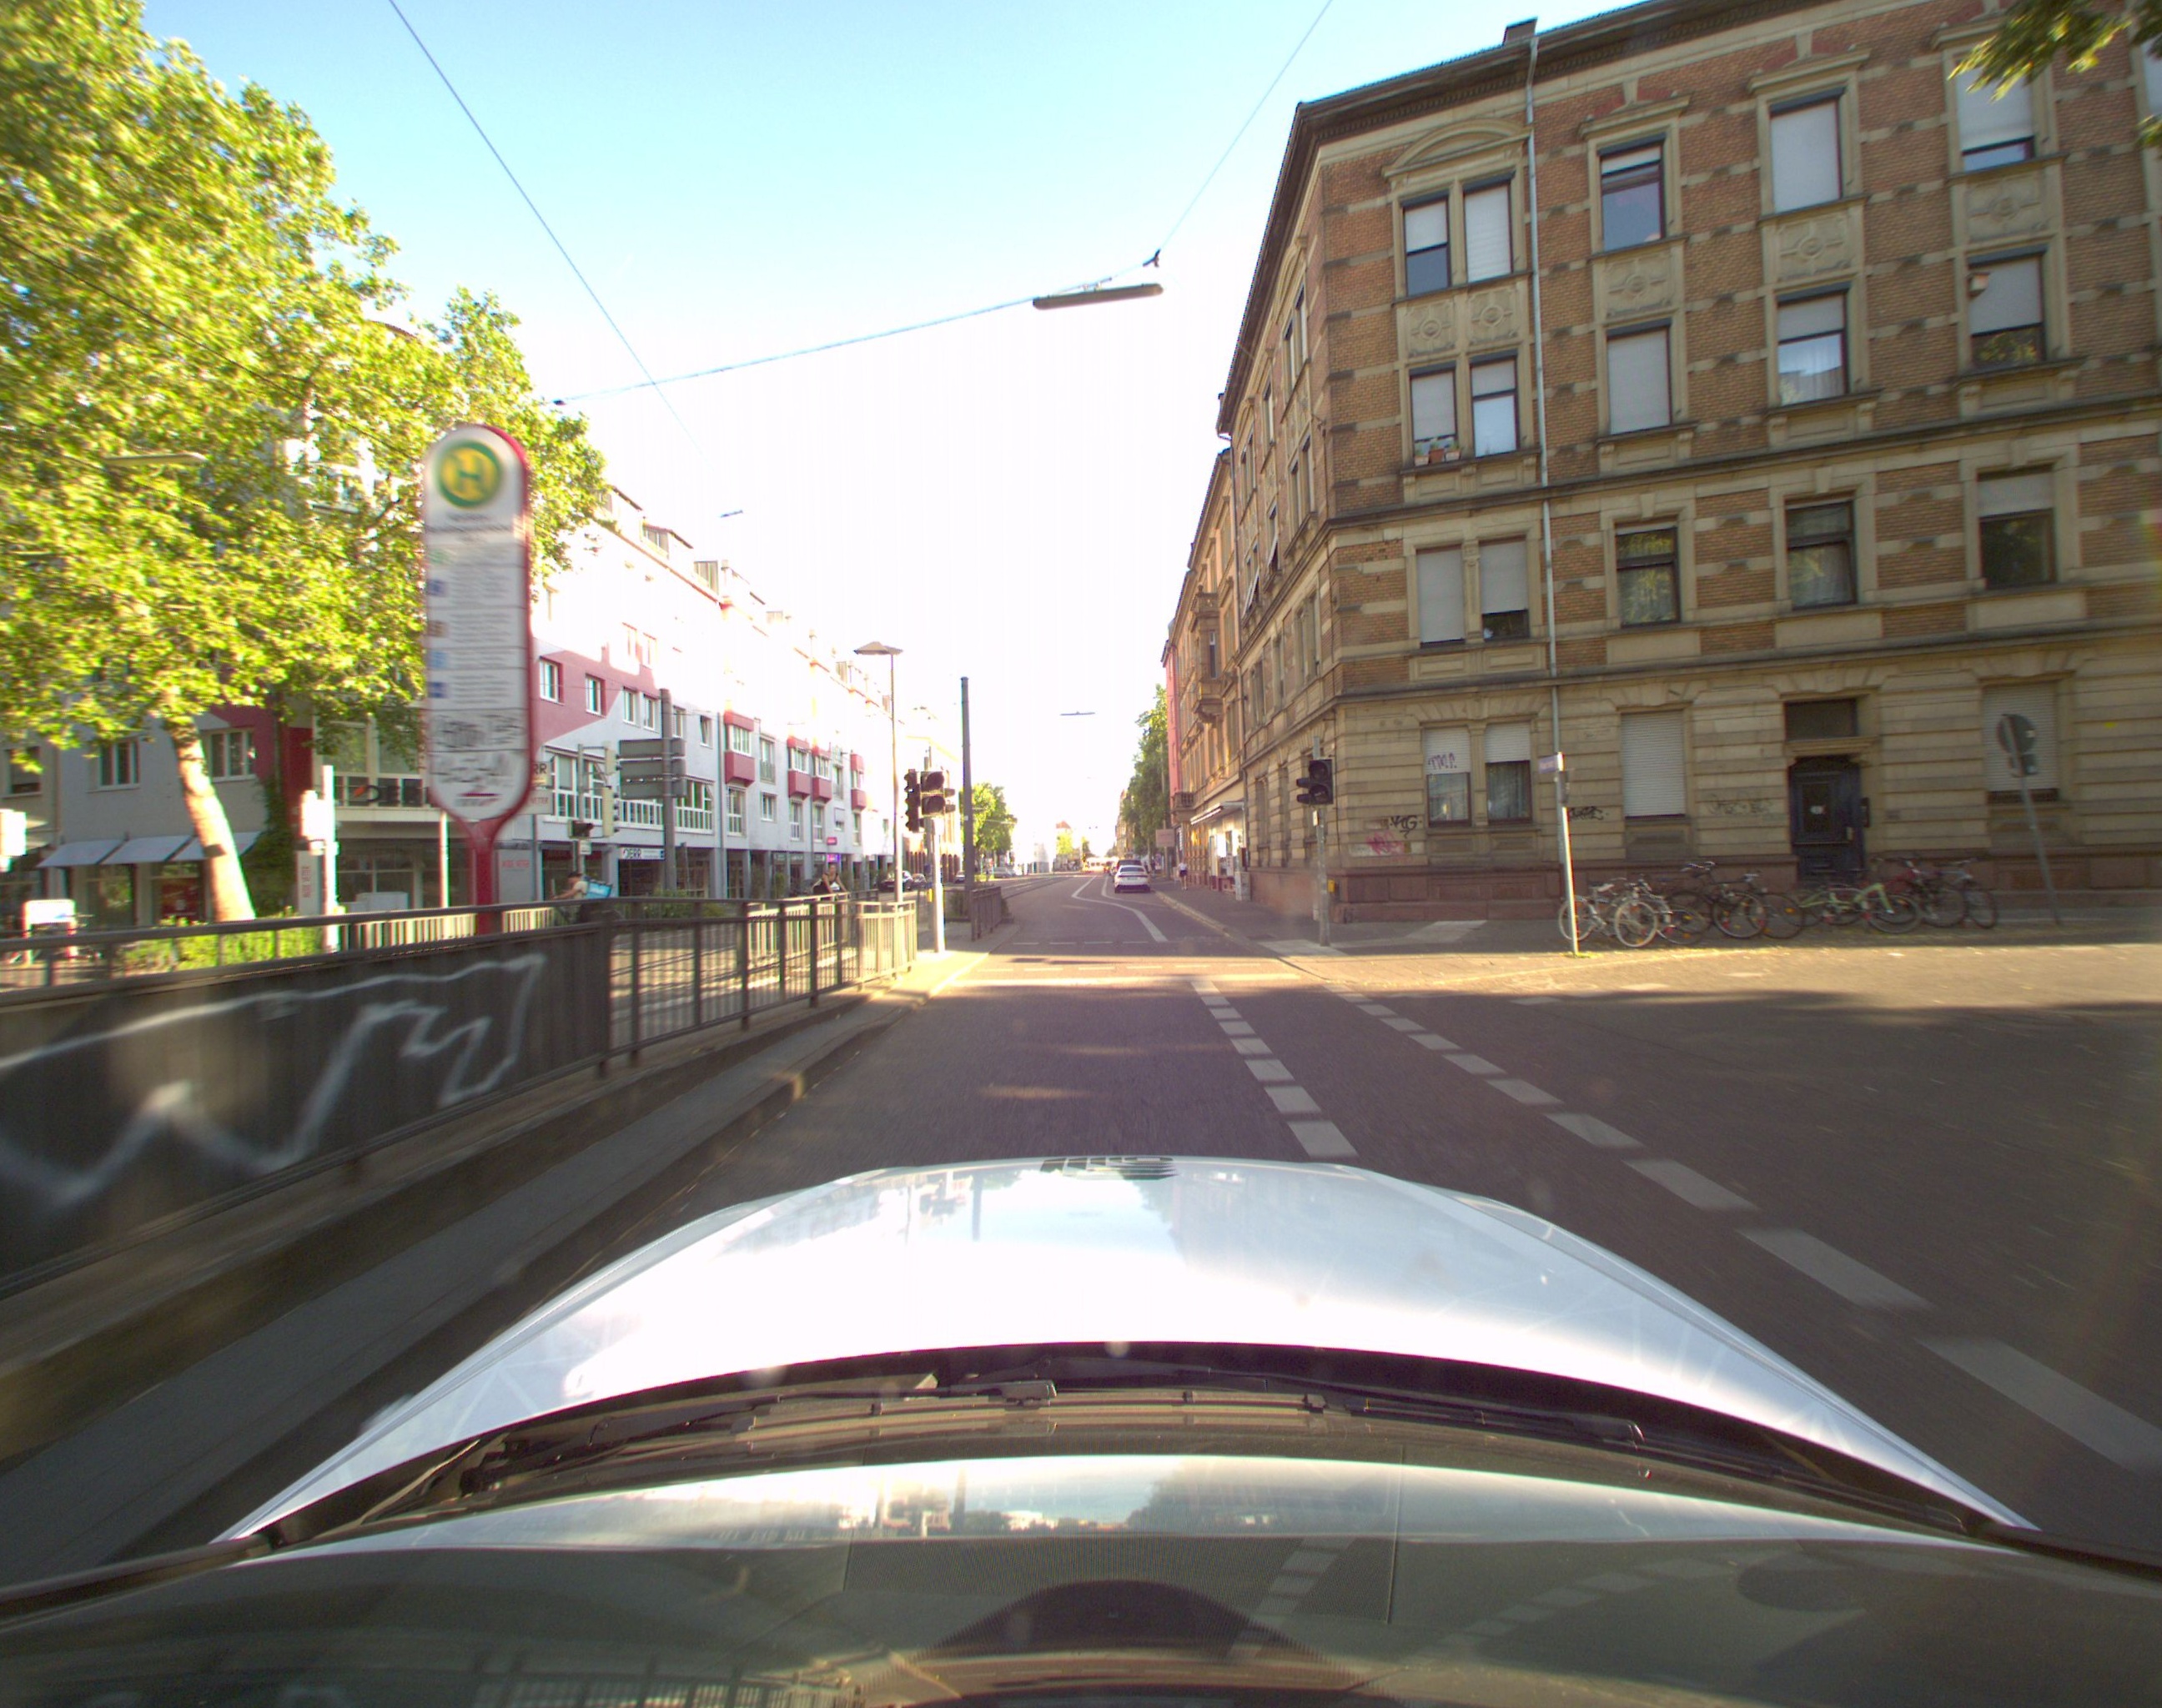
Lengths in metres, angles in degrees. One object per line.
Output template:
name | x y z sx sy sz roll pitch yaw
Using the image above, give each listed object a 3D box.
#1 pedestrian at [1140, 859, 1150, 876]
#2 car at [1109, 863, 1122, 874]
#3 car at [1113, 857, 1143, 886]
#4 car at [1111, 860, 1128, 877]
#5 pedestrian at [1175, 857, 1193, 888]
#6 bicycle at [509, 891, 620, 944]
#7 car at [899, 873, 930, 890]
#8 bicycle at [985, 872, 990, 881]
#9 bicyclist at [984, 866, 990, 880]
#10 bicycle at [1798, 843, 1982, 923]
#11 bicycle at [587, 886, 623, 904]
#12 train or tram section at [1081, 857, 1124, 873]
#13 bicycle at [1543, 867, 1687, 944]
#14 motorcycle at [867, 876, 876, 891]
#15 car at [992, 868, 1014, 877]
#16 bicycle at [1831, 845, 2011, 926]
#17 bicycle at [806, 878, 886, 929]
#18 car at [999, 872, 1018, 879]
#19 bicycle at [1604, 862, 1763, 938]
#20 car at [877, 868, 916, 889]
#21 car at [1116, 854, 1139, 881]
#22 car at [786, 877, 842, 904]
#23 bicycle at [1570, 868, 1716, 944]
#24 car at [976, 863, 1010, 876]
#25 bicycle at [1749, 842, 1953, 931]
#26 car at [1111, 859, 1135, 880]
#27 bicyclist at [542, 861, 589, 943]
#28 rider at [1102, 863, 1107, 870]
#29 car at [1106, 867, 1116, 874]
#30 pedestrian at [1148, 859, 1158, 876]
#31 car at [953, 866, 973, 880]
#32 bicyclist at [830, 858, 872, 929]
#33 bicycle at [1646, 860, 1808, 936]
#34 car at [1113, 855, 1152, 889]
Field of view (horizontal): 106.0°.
pedestrian | 6.308 1.323 80.348 0.772 1.567 0.914 -5 -1 3
car | 5.139 2.104 120.768 1.717 1.568 4.084 -3 -1 1
car | 3.256 1.205 56.255 1.947 1.869 4.992 0 -1 3
car | 4.784 1.796 102.003 1.963 2.014 4.561 -3 -1 3
pedestrian | 5.385 0.967 42.610 0.772 1.567 0.915 -5 -1 4
bicycle | -11.039 1.341 17.473 1.900 1.078 0.580 1 -1 -21
car | -15.497 2.536 75.872 1.861 1.451 3.587 -1 -1 4
bicycle | -12.216 2.956 105.927 0.582 1.077 2.180 -4 -1 -7
bicyclist | -12.248 2.503 106.013 0.571 1.712 0.744 -4 -1 -7
bicycle | 12.232 0.426 12.410 0.447 1.123 1.942 -1 -1 -22
bicycle | -18.841 1.604 32.269 0.455 0.658 1.808 1 -1 -3
train or tram section | 5.689 2.953 211.188 12.146 3.960 2.670 1 -1 -38
bicycle | 7.810 0.717 12.023 0.452 1.025 1.896 -1 -1 -17
motorcycle | -17.102 2.408 66.533 0.671 1.205 2.129 0 -2 -15
car | -15.238 3.605 159.719 3.892 1.627 1.858 1 -1 -29
bicycle | 12.700 0.461 12.401 0.405 1.123 1.895 -1 -1 -19
bicycle | -5.393 1.117 18.673 1.875 1.078 0.588 0 -1 29
car | -15.191 4.494 170.069 3.542 1.481 1.567 1 -1 -31
bicycle | 8.935 0.657 12.178 0.464 1.039 1.891 -1 -1 -26
car | -15.454 2.034 68.410 2.083 1.713 4.819 0 -2 1
car | 3.837 1.146 66.978 1.697 2.120 3.710 -1 -1 4
car | -16.081 2.178 49.228 1.864 1.439 4.704 -1 -1 -1
bicycle | 8.218 0.722 12.014 0.418 1.025 1.896 -1 -1 -17
car | -15.163 2.713 140.447 5.285 2.043 2.395 1 -3 -31
bicycle | 11.288 0.454 12.050 0.616 1.182 2.089 -1 -1 -24
car | 3.678 1.396 72.361 1.943 1.788 5.181 0 -1 1
bicyclist | -11.071 1.011 17.500 0.747 1.712 0.529 -1 -1 -25
rider | 4.813 2.529 166.156 0.880 1.481 0.713 0 -1 2
car | 6.591 3.680 180.322 2.058 1.389 4.226 1 -1 1
pedestrian | 7.112 1.332 80.358 0.772 1.567 0.914 -5 -1 3
car | -14.792 2.391 102.385 1.864 1.600 4.252 -1 -1 -1
bicyclist | -5.261 0.905 18.606 0.736 1.578 0.537 -2 -1 32
bicycle | 9.496 0.618 12.074 0.497 1.025 1.895 -1 -1 -19
car | 2.757 0.966 44.298 1.959 1.772 4.878 -1 -1 3
